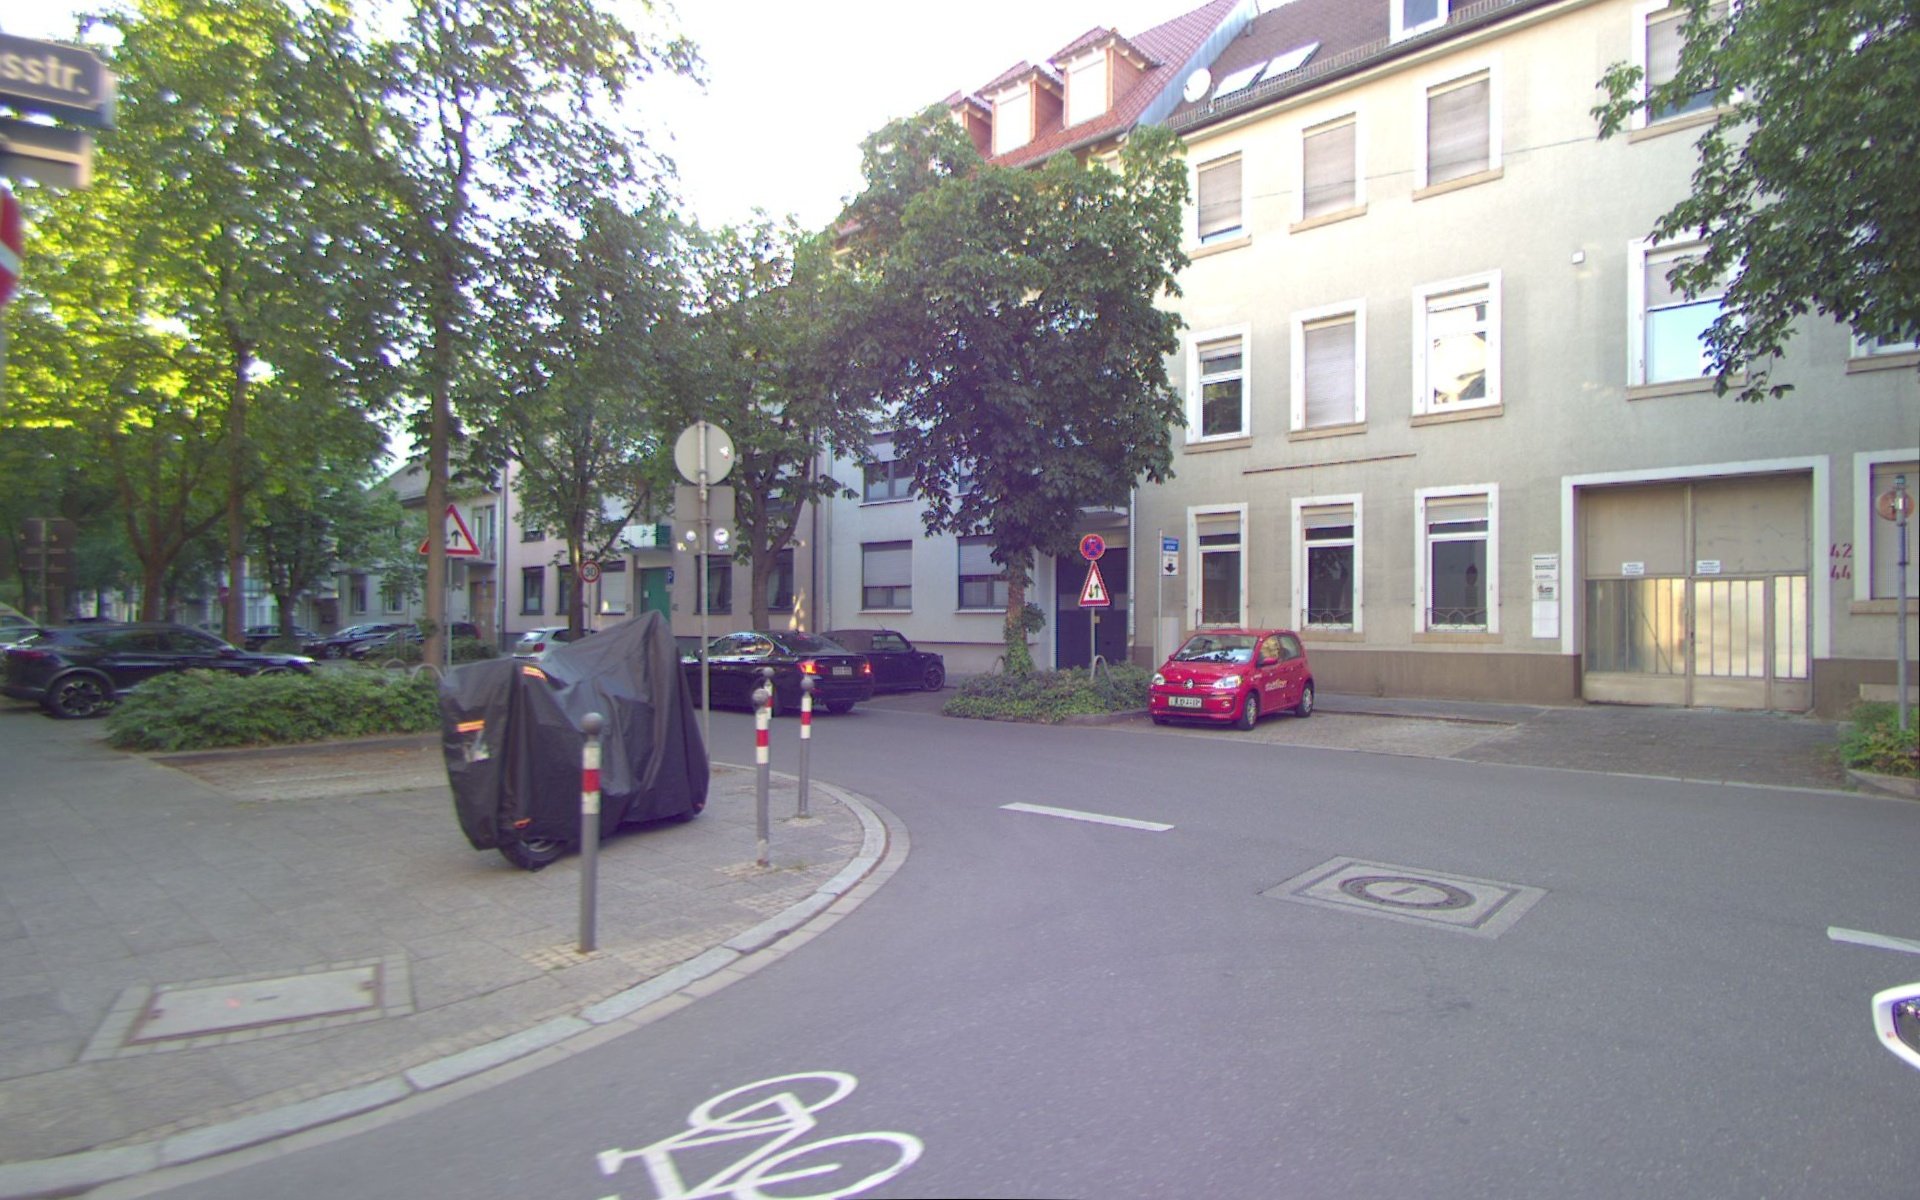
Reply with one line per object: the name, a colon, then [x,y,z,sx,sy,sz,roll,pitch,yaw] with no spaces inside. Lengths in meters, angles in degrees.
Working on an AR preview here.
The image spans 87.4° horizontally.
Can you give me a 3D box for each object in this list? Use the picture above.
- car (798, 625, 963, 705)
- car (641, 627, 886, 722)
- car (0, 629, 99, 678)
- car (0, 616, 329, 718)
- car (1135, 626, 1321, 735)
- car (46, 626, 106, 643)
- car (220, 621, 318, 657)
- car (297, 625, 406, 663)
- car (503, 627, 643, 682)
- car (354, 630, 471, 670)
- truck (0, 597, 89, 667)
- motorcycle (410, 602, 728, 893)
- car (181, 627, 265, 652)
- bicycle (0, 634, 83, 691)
car: [-1.667,1.355,22.138,1.601,1.447,3.701,-1,1,36]
car: [-3.607,1.231,17.982,4.596,1.469,1.761,-1,-2,39]
car: [-29.284,1.626,30.826,1.616,1.491,4.125,-1,-3,41]
car: [-13.653,1.107,17.325,1.808,1.529,4.349,-1,-3,41]
car: [4.392,1.195,16.144,1.542,1.495,3.651,-1,-1,39]
car: [-75.204,2.910,85.470,1.542,1.411,3.652,-1,-2,39]
car: [-33.624,1.881,48.942,1.542,1.557,3.652,-1,0,39]
car: [-26.306,1.877,43.524,1.542,1.550,3.787,-1,-1,39]
car: [-11.564,1.589,30.169,1.542,1.498,3.652,-1,-1,39]
car: [-20.988,1.893,38.604,1.542,1.411,3.652,-1,-1,39]
truck: [-35.107,1.139,36.515,1.888,2.473,4.989,0,-2,42]
motorcycle: [-2.421,0.825,6.585,0.656,1.576,2.162,0,-1,21]
car: [-42.568,2.281,58.080,1.542,1.411,3.652,-1,-2,39]
bicycle: [-20.870,1.380,22.347,0.493,1.215,1.972,-1,-2,30]
